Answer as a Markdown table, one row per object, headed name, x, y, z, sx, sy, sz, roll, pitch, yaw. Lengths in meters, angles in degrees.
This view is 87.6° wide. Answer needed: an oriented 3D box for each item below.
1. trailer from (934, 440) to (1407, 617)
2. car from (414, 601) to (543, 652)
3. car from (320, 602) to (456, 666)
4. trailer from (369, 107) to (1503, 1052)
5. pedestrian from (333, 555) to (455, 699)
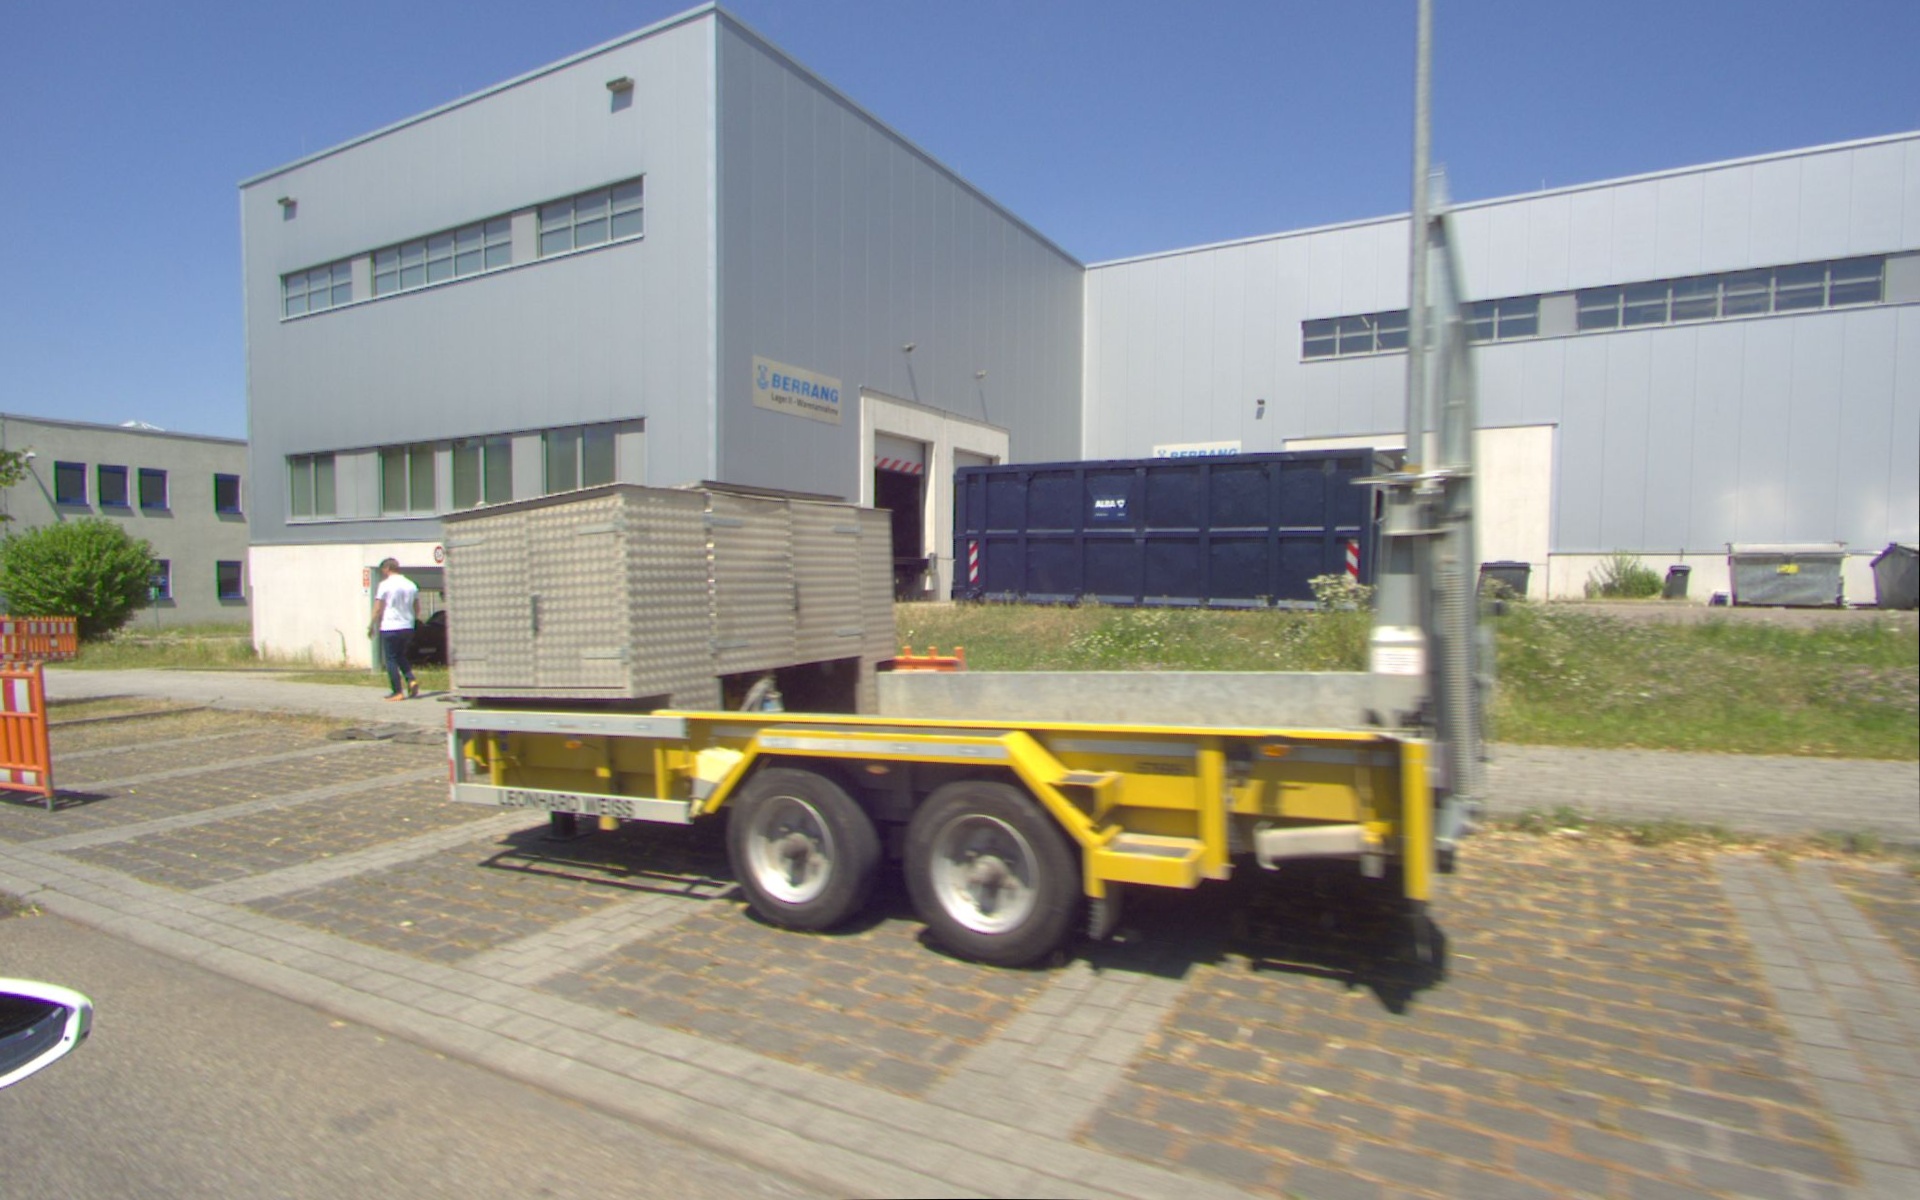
| name | x | y | z | sx | sy | sz | roll | pitch | yaw |
| --- | --- | --- | --- | --- | --- | --- | --- | --- | --- |
| trailer | 3.367 | -1.166 | 16.968 | 7.303 | 2.454 | 2.654 | 3 | 2 | 31 |
| car | -14.984 | 0.807 | 31.119 | 3.944 | 1.497 | 1.878 | -1 | -1 | 33 |
| car | -16.430 | 0.927 | 28.737 | 3.942 | 1.473 | 1.821 | 4 | 3 | 33 |
| trailer | -0.180 | -0.049 | 5.489 | 5.432 | 2.897 | 2.653 | -1 | 2 | 27 |
| pedestrian | -7.813 | 0.356 | 13.851 | 1.192 | 1.915 | 0.864 | 1 | 1 | 15 |
